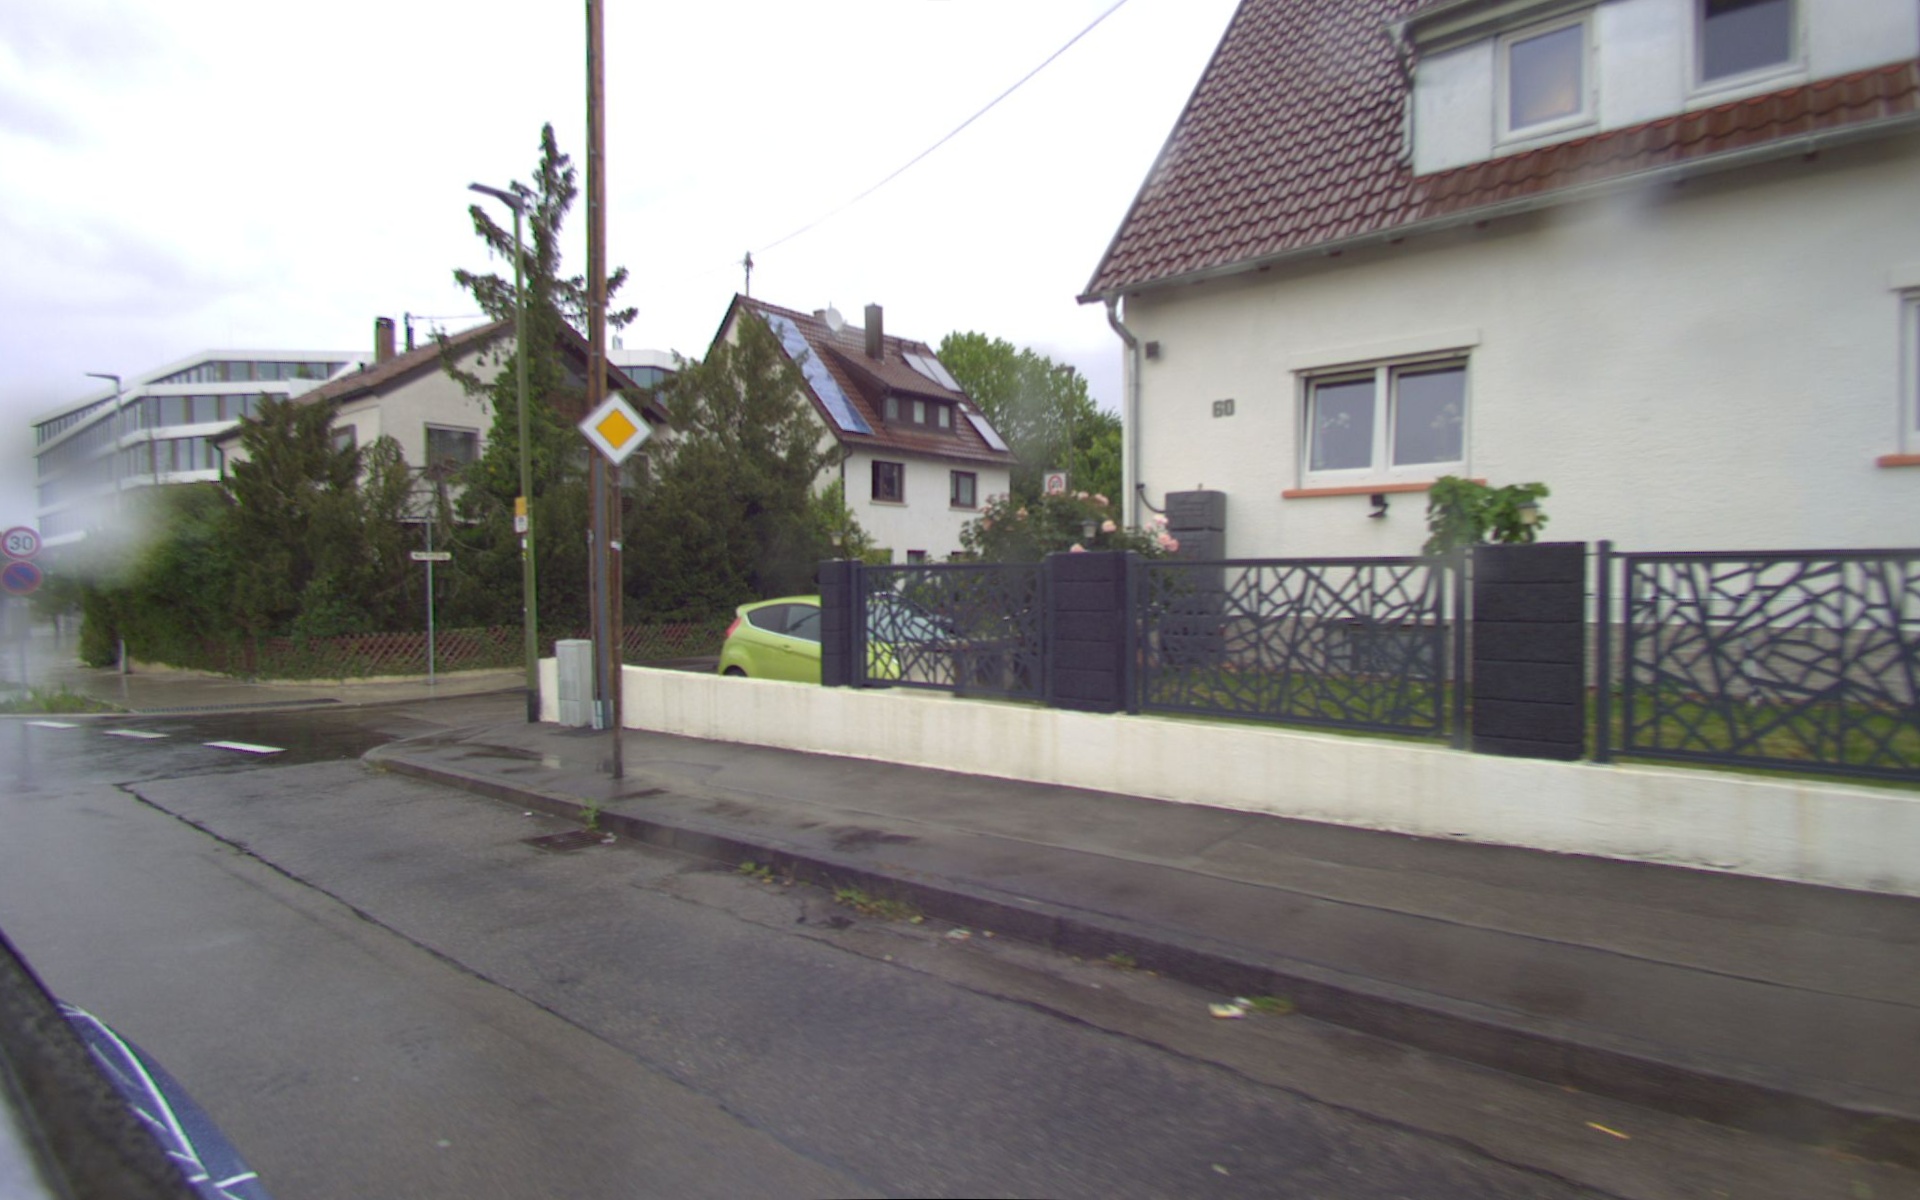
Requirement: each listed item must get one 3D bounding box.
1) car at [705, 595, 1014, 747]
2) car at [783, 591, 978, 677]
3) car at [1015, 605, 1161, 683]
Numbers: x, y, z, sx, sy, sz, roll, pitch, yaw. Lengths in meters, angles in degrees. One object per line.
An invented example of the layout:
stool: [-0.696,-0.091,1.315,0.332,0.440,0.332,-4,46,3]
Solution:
car: [-1.259,0.705,11.934,3.456,1.478,1.760,0,2,42]
car: [-1.570,0.650,20.931,1.784,1.478,3.803,-3,0,42]
car: [3.440,1.079,26.756,1.925,1.586,3.960,5,5,40]
